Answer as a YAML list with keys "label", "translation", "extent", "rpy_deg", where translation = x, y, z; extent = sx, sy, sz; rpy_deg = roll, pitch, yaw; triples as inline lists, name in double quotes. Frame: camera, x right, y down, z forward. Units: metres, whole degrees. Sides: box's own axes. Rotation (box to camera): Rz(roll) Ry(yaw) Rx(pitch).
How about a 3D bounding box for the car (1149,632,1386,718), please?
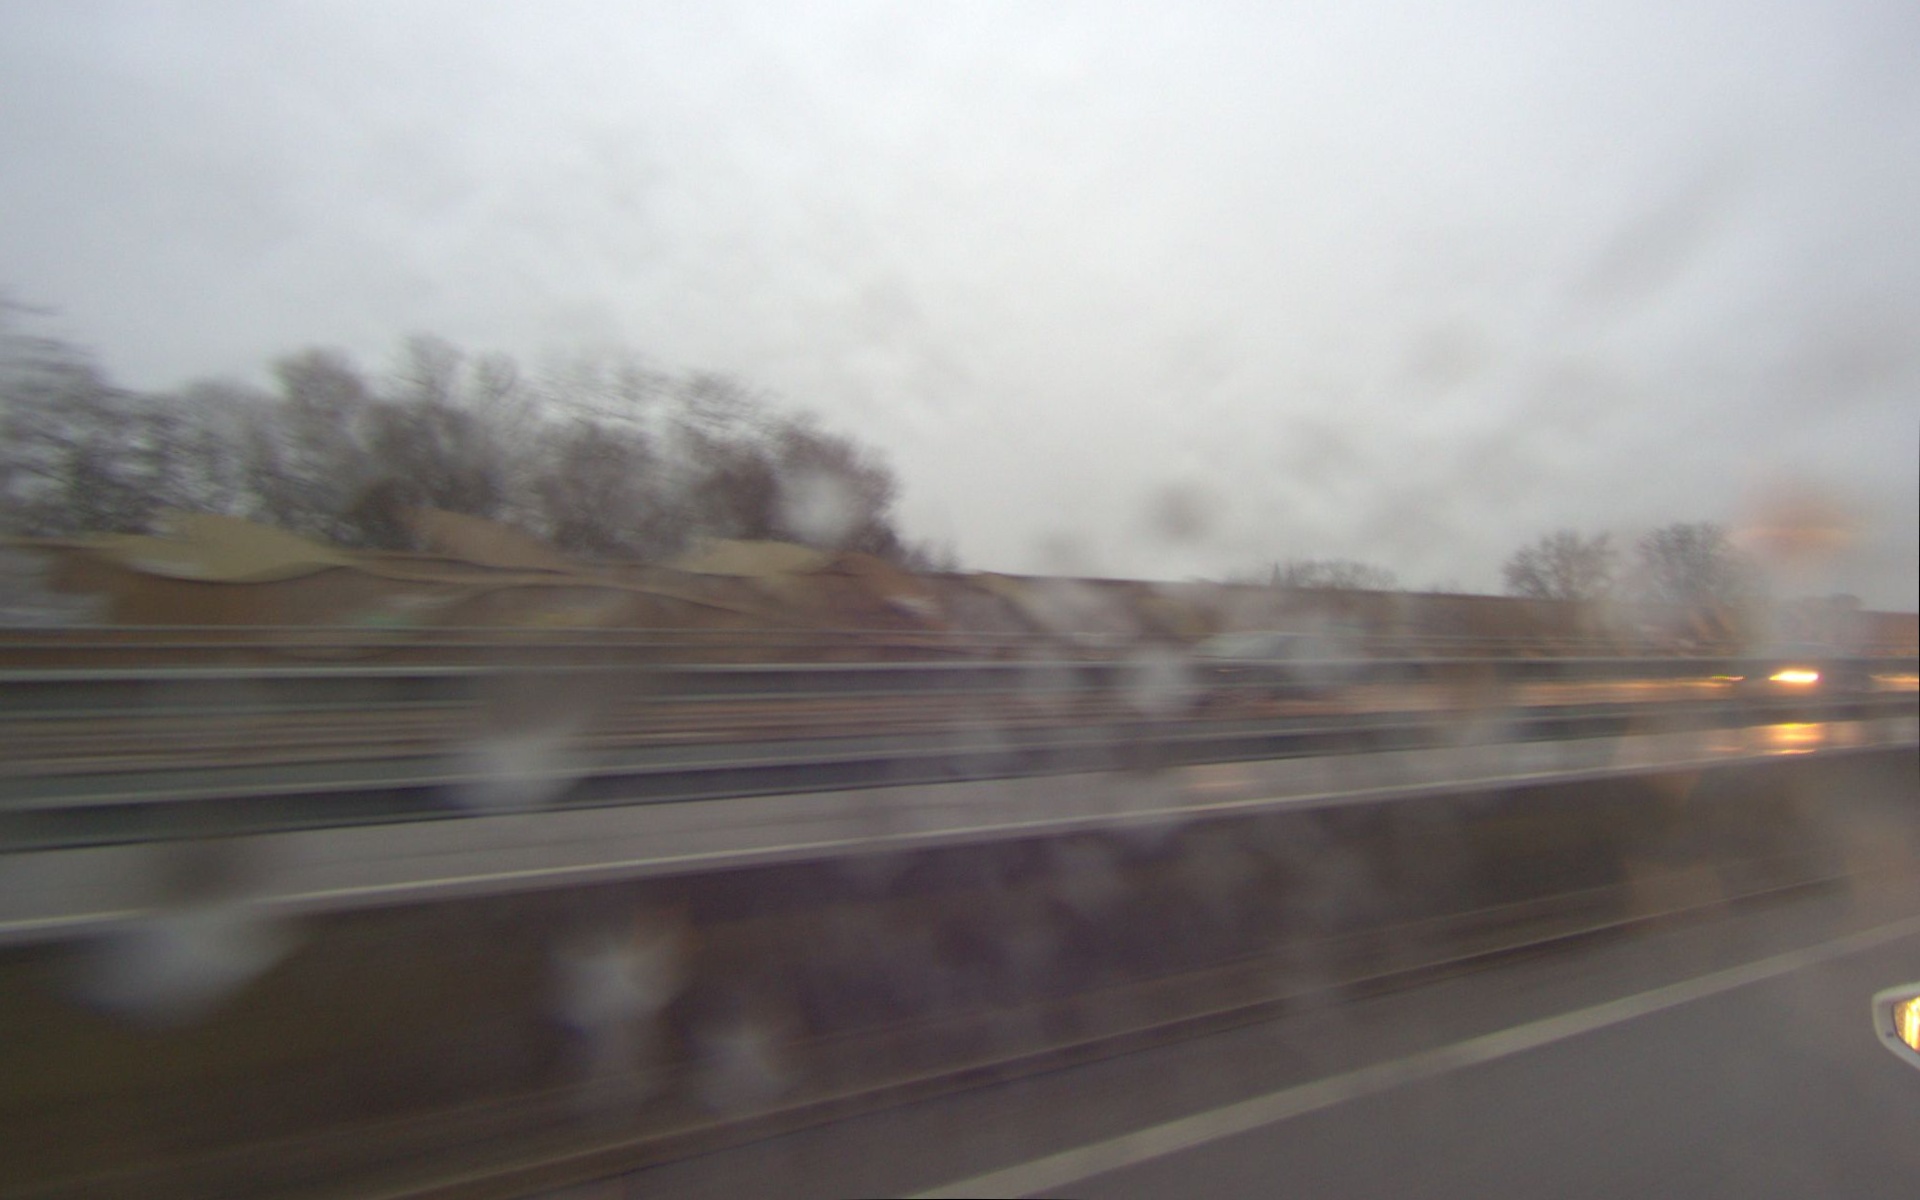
- label: "car"
  translation: [5.978, 1.383, 19.436]
  extent: [4.406, 1.484, 1.886]
  rpy_deg: [1, -2, -29]

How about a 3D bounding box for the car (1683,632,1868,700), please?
- label: "car"
  translation: [19.851, 1.556, 24.417]
  extent: [4.771, 1.484, 1.886]
  rpy_deg: [1, -2, -29]

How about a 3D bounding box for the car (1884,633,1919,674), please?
- label: "car"
  translation: [36.194, 1.974, 37.140]
  extent: [3.952, 1.484, 1.886]
  rpy_deg: [2, -2, -30]
